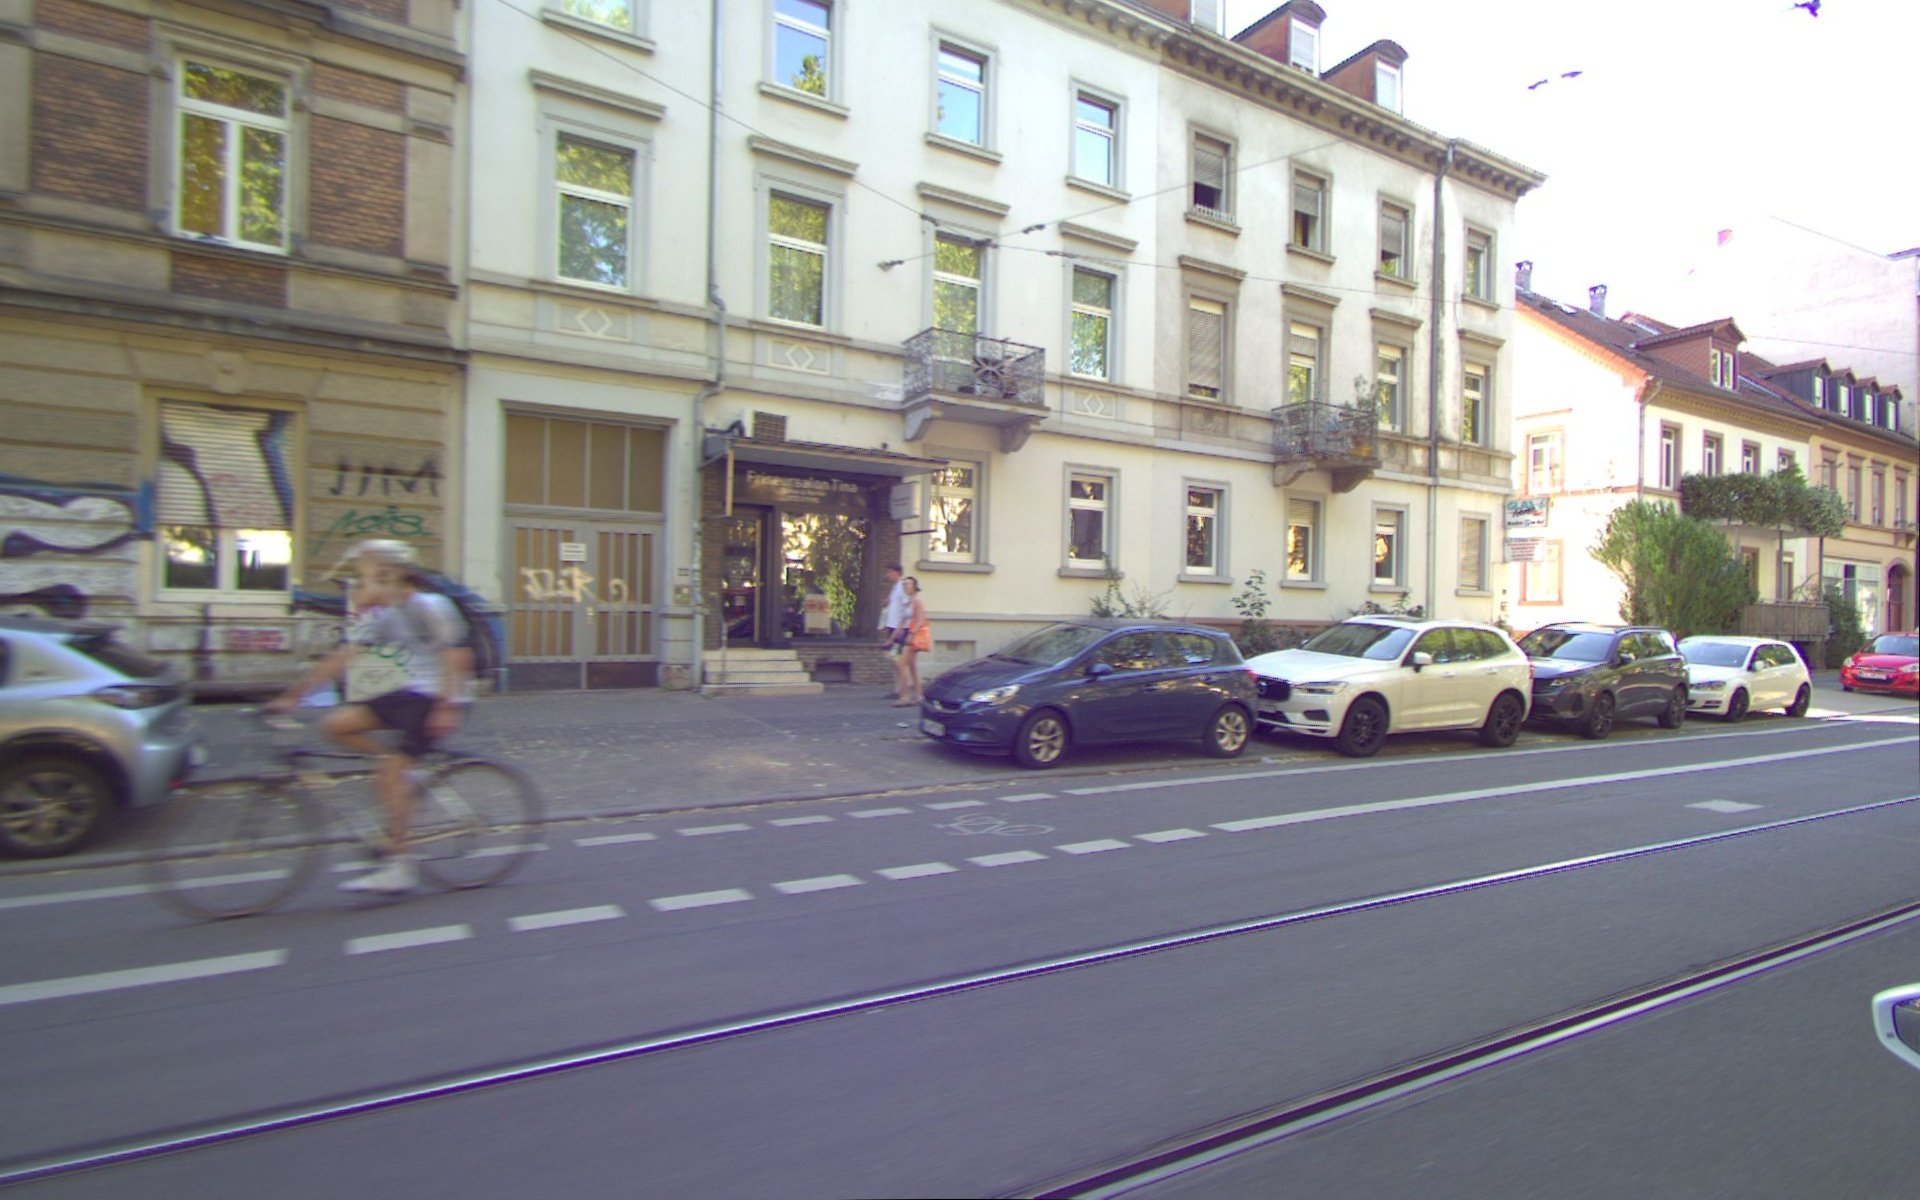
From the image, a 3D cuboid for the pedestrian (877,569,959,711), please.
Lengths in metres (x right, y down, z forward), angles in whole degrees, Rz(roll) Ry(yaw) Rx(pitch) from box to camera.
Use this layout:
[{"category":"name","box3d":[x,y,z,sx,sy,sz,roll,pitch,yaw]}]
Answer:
[{"category":"pedestrian","box3d":[-0.568,0.531,13.609,0.821,1.845,0.755,1,0,-33]}]

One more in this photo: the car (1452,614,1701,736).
[{"category":"car","box3d":[10.129,1.127,16.374,4.614,1.726,1.844,1,-1,-36]}]

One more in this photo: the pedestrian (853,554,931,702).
[{"category":"pedestrian","box3d":[-0.971,0.390,14.335,0.821,2.040,0.755,1,0,-32]}]

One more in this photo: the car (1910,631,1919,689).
[{"category":"car","box3d":[27.692,1.650,27.177,4.637,1.523,1.816,1,0,-33]}]

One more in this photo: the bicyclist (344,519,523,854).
[{"category":"bicyclist","box3d":[-2.807,0.438,5.376,0.790,1.657,0.471,1,-1,-30]}]

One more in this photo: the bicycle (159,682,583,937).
[{"category":"bicycle","box3d":[-2.985,1.015,5.271,1.824,1.100,0.478,1,-1,-30]}]

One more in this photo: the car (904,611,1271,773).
[{"category":"car","box3d":[1.461,0.920,11.126,3.875,1.535,1.548,1,-1,-28]}]

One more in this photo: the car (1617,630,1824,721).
[{"category":"car","box3d":[14.568,1.372,19.206,4.208,1.496,1.678,1,1,-31]}]

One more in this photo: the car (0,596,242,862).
[{"category":"car","box3d":[-6.930,0.744,6.124,4.021,1.541,1.653,2,0,-33]}]

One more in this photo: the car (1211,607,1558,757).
[{"category":"car","box3d":[5.766,0.995,13.490,4.706,1.726,1.848,1,-1,-30]}]

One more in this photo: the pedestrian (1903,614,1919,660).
[{"category":"pedestrian","box3d":[35.091,1.359,36.762,0.764,1.656,0.653,2,1,44]}]

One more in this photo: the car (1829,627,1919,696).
[{"category":"car","box3d":[23.154,1.467,24.669,3.404,1.583,1.564,1,-1,-27]}]
